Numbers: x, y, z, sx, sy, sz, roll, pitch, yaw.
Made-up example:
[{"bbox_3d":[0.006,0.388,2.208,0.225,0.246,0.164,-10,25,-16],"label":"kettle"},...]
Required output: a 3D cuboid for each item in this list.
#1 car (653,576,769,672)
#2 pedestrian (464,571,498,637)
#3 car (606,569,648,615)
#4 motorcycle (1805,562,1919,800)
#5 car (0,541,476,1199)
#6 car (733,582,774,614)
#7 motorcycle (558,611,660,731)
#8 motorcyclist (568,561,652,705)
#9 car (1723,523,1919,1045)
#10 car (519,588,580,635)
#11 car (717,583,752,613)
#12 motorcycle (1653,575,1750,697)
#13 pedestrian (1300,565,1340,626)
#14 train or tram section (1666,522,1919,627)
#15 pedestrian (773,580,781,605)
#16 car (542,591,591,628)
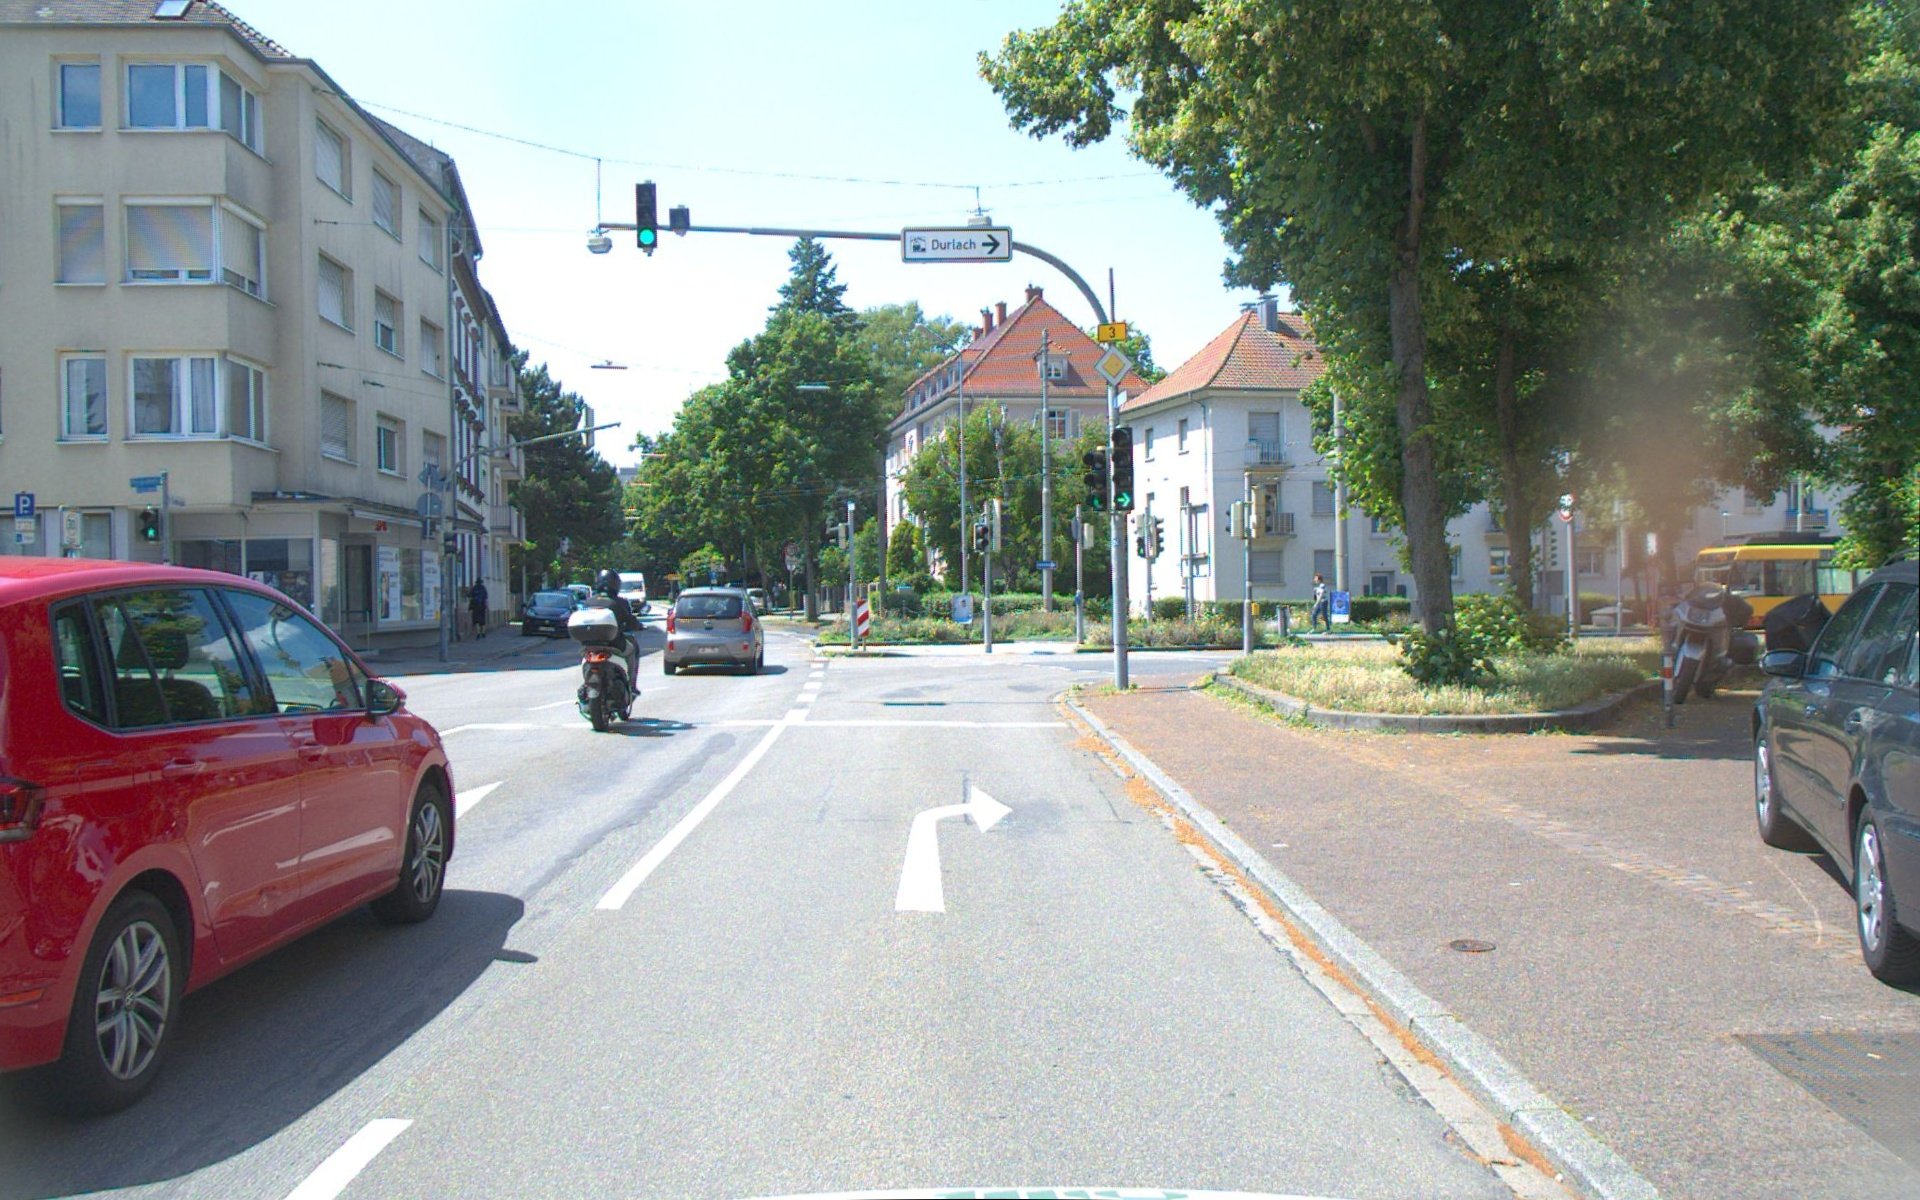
[{"bbox_3d":[-4.392,0.392,29.698,1.763,1.585,4.034,-1,0,-5],"label":"car"},{"bbox_3d":[-14.622,0.121,50.537,0.919,1.965,0.974,-1,0,-13],"label":"pedestrian"},{"bbox_3d":[-20.140,-0.464,100.356,2.176,2.544,7.535,-4,1,-10],"label":"car"},{"bbox_3d":[6.035,0.444,10.479,0.911,1.325,2.281,-1,1,20],"label":"motorcycle"},{"bbox_3d":[-3.196,0.642,5.935,1.762,1.585,4.037,0,0,-1],"label":"car"},{"bbox_3d":[-12.196,-0.151,97.514,1.959,1.839,3.986,0,0,-13],"label":"car"},{"bbox_3d":[-3.689,0.712,17.549,0.696,1.154,2.196,0,0,-2],"label":"motorcycle"},{"bbox_3d":[-3.685,0.332,17.495,0.696,1.471,1.019,0,0,-3],"label":"motorcyclist"},{"bbox_3d":[4.475,0.458,6.896,1.796,1.575,5.159,-1,1,19],"label":"car"},{"bbox_3d":[-14.174,0.403,57.079,1.960,1.546,3.985,0,-1,-14],"label":"car"},{"bbox_3d":[-15.121,-0.160,110.630,1.959,1.940,3.986,0,0,-13],"label":"car"},{"bbox_3d":[8.640,0.382,19.222,0.898,1.336,2.222,0,0,28],"label":"motorcycle"},{"bbox_3d":[10.287,-0.127,47.253,0.826,1.735,0.755,0,0,-28],"label":"pedestrian"},{"bbox_3d":[32.618,-0.951,60.468,13.905,3.631,2.806,-1,0,-16],"label":"train or tram section"},{"bbox_3d":[-12.045,-0.498,108.889,0.499,1.685,0.465,0,0,-8],"label":"pedestrian"},{"bbox_3d":[-16.728,0.393,70.345,1.960,1.536,3.986,-1,0,-14],"label":"car"}]
